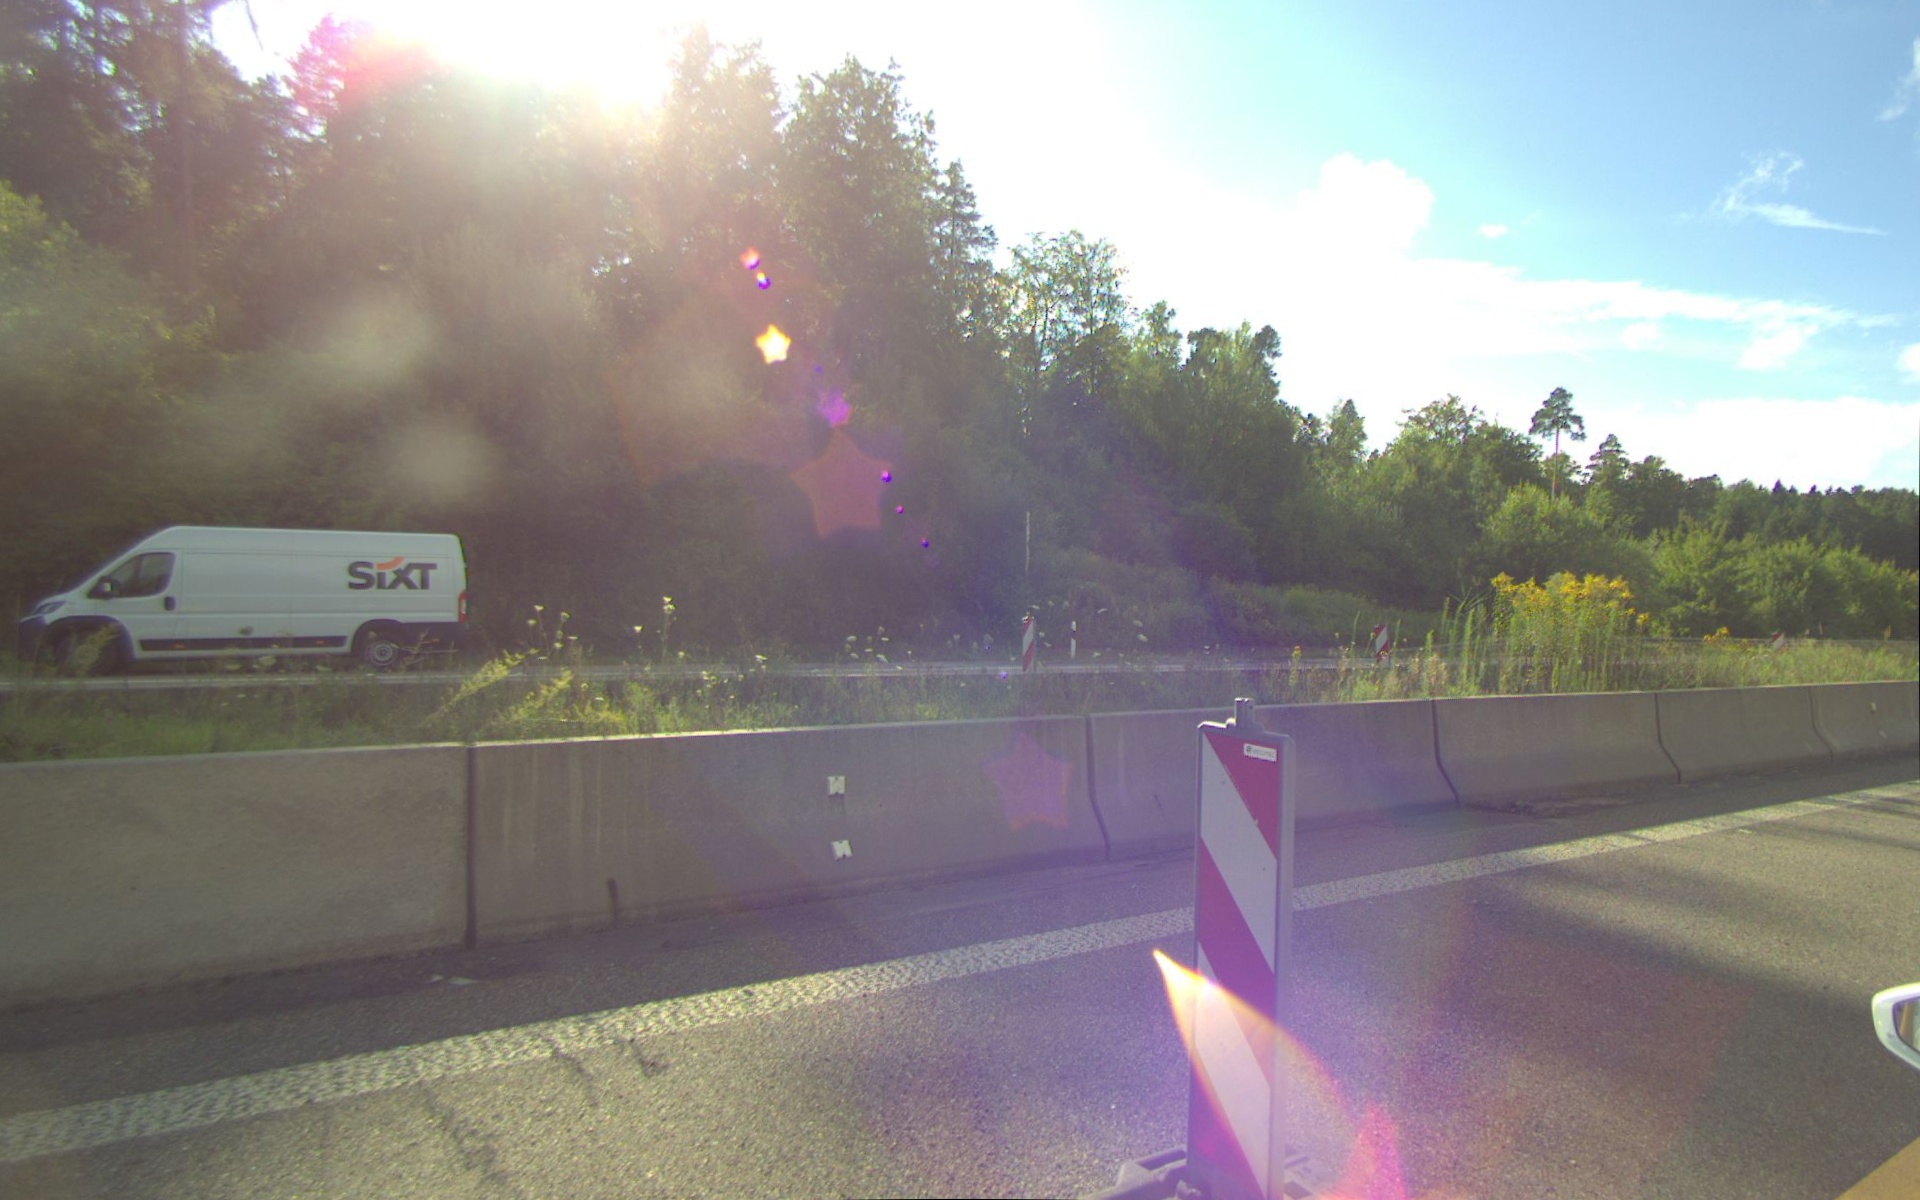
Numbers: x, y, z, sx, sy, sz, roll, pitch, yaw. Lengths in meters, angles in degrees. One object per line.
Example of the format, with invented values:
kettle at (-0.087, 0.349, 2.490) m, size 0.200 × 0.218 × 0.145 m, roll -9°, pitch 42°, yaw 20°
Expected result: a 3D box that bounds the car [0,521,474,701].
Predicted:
car at (-12.230, 0.251, 17.690) m, size 6.446 × 2.720 × 2.018 m, roll 2°, pitch 0°, yaw -30°
